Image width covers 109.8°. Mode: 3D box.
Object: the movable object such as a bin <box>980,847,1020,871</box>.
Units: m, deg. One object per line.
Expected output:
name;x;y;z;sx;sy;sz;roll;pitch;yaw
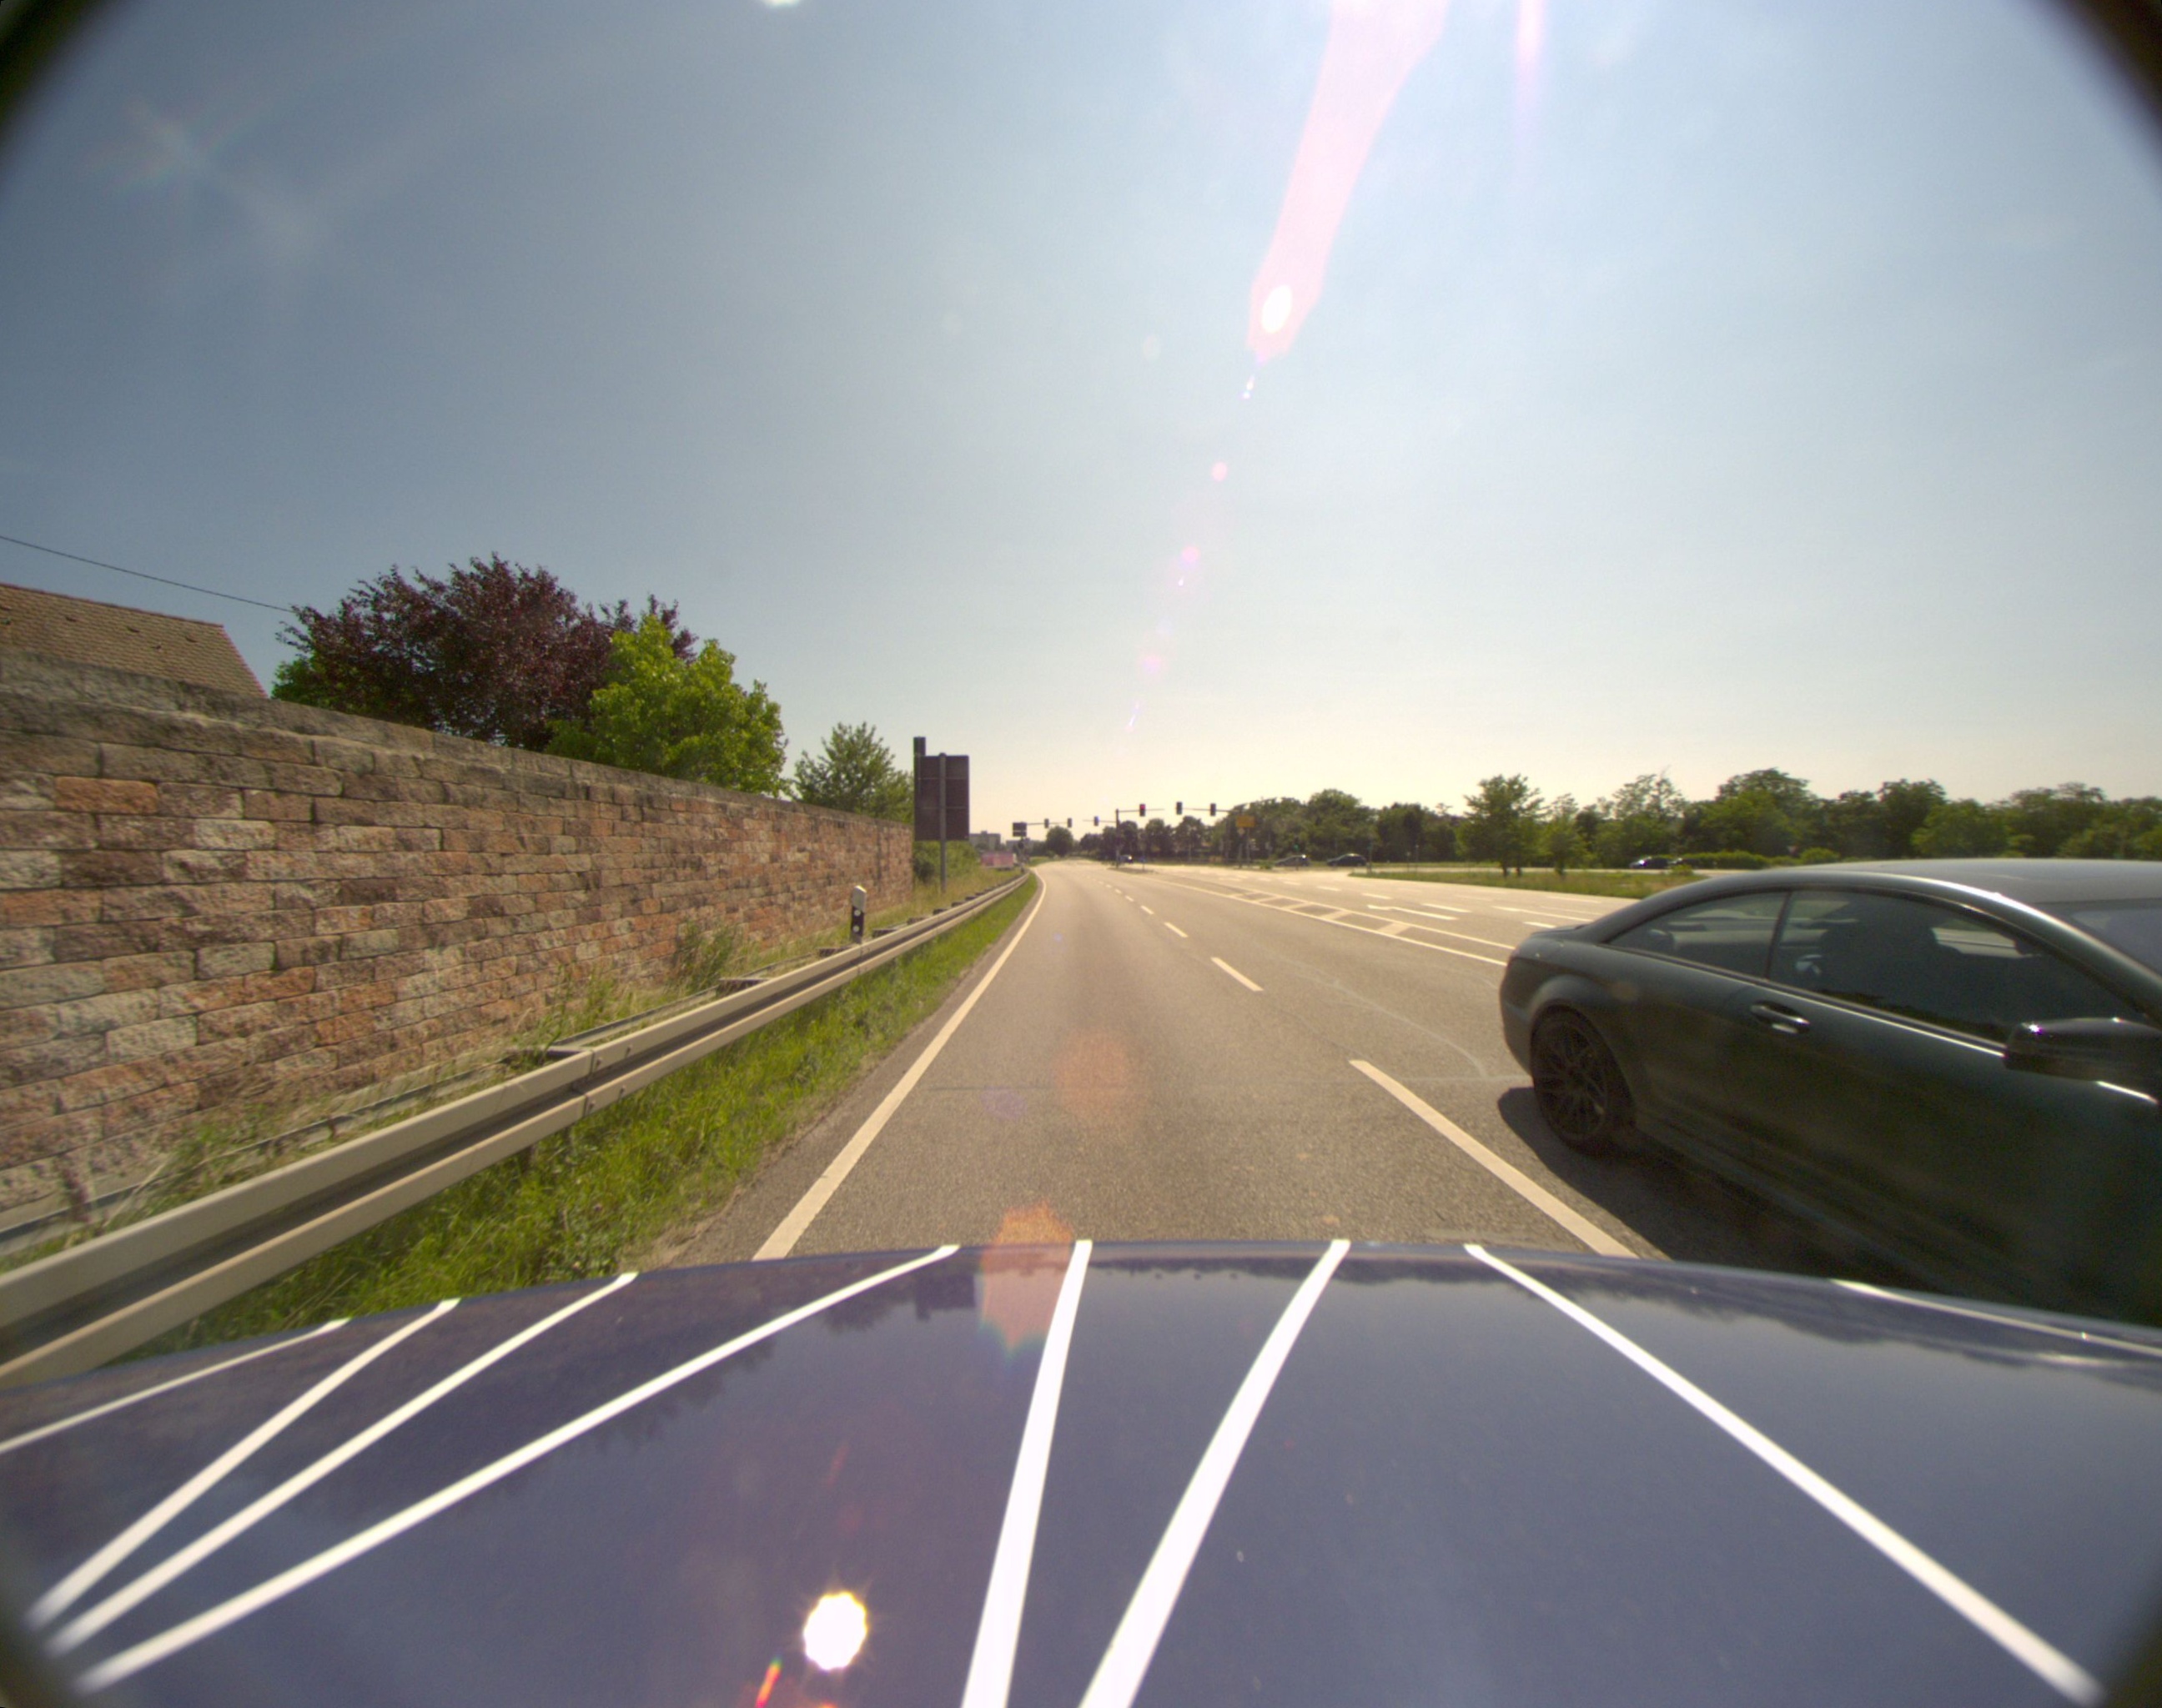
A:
movable object such as a bin;-8.391;0.499;78.825;4.106;2.318;1.276;-1;1;-6

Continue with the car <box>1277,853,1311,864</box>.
car;26.092;0.546;93.246;3.874;1.379;1.636;0;0;11

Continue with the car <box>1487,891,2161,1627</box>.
car;3.276;0.960;2.039;1.815;1.441;4.877;-1;0;1

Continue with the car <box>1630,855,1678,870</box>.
car;64.809;1.001;85.994;3.996;1.565;1.738;-1;1;3

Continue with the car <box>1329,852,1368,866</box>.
car;32.342;0.589;91.965;4.361;1.585;1.637;1;0;14

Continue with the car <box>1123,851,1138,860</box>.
car;8.631;0.232;133.522;1.836;1.591;4.302;1;1;-6
